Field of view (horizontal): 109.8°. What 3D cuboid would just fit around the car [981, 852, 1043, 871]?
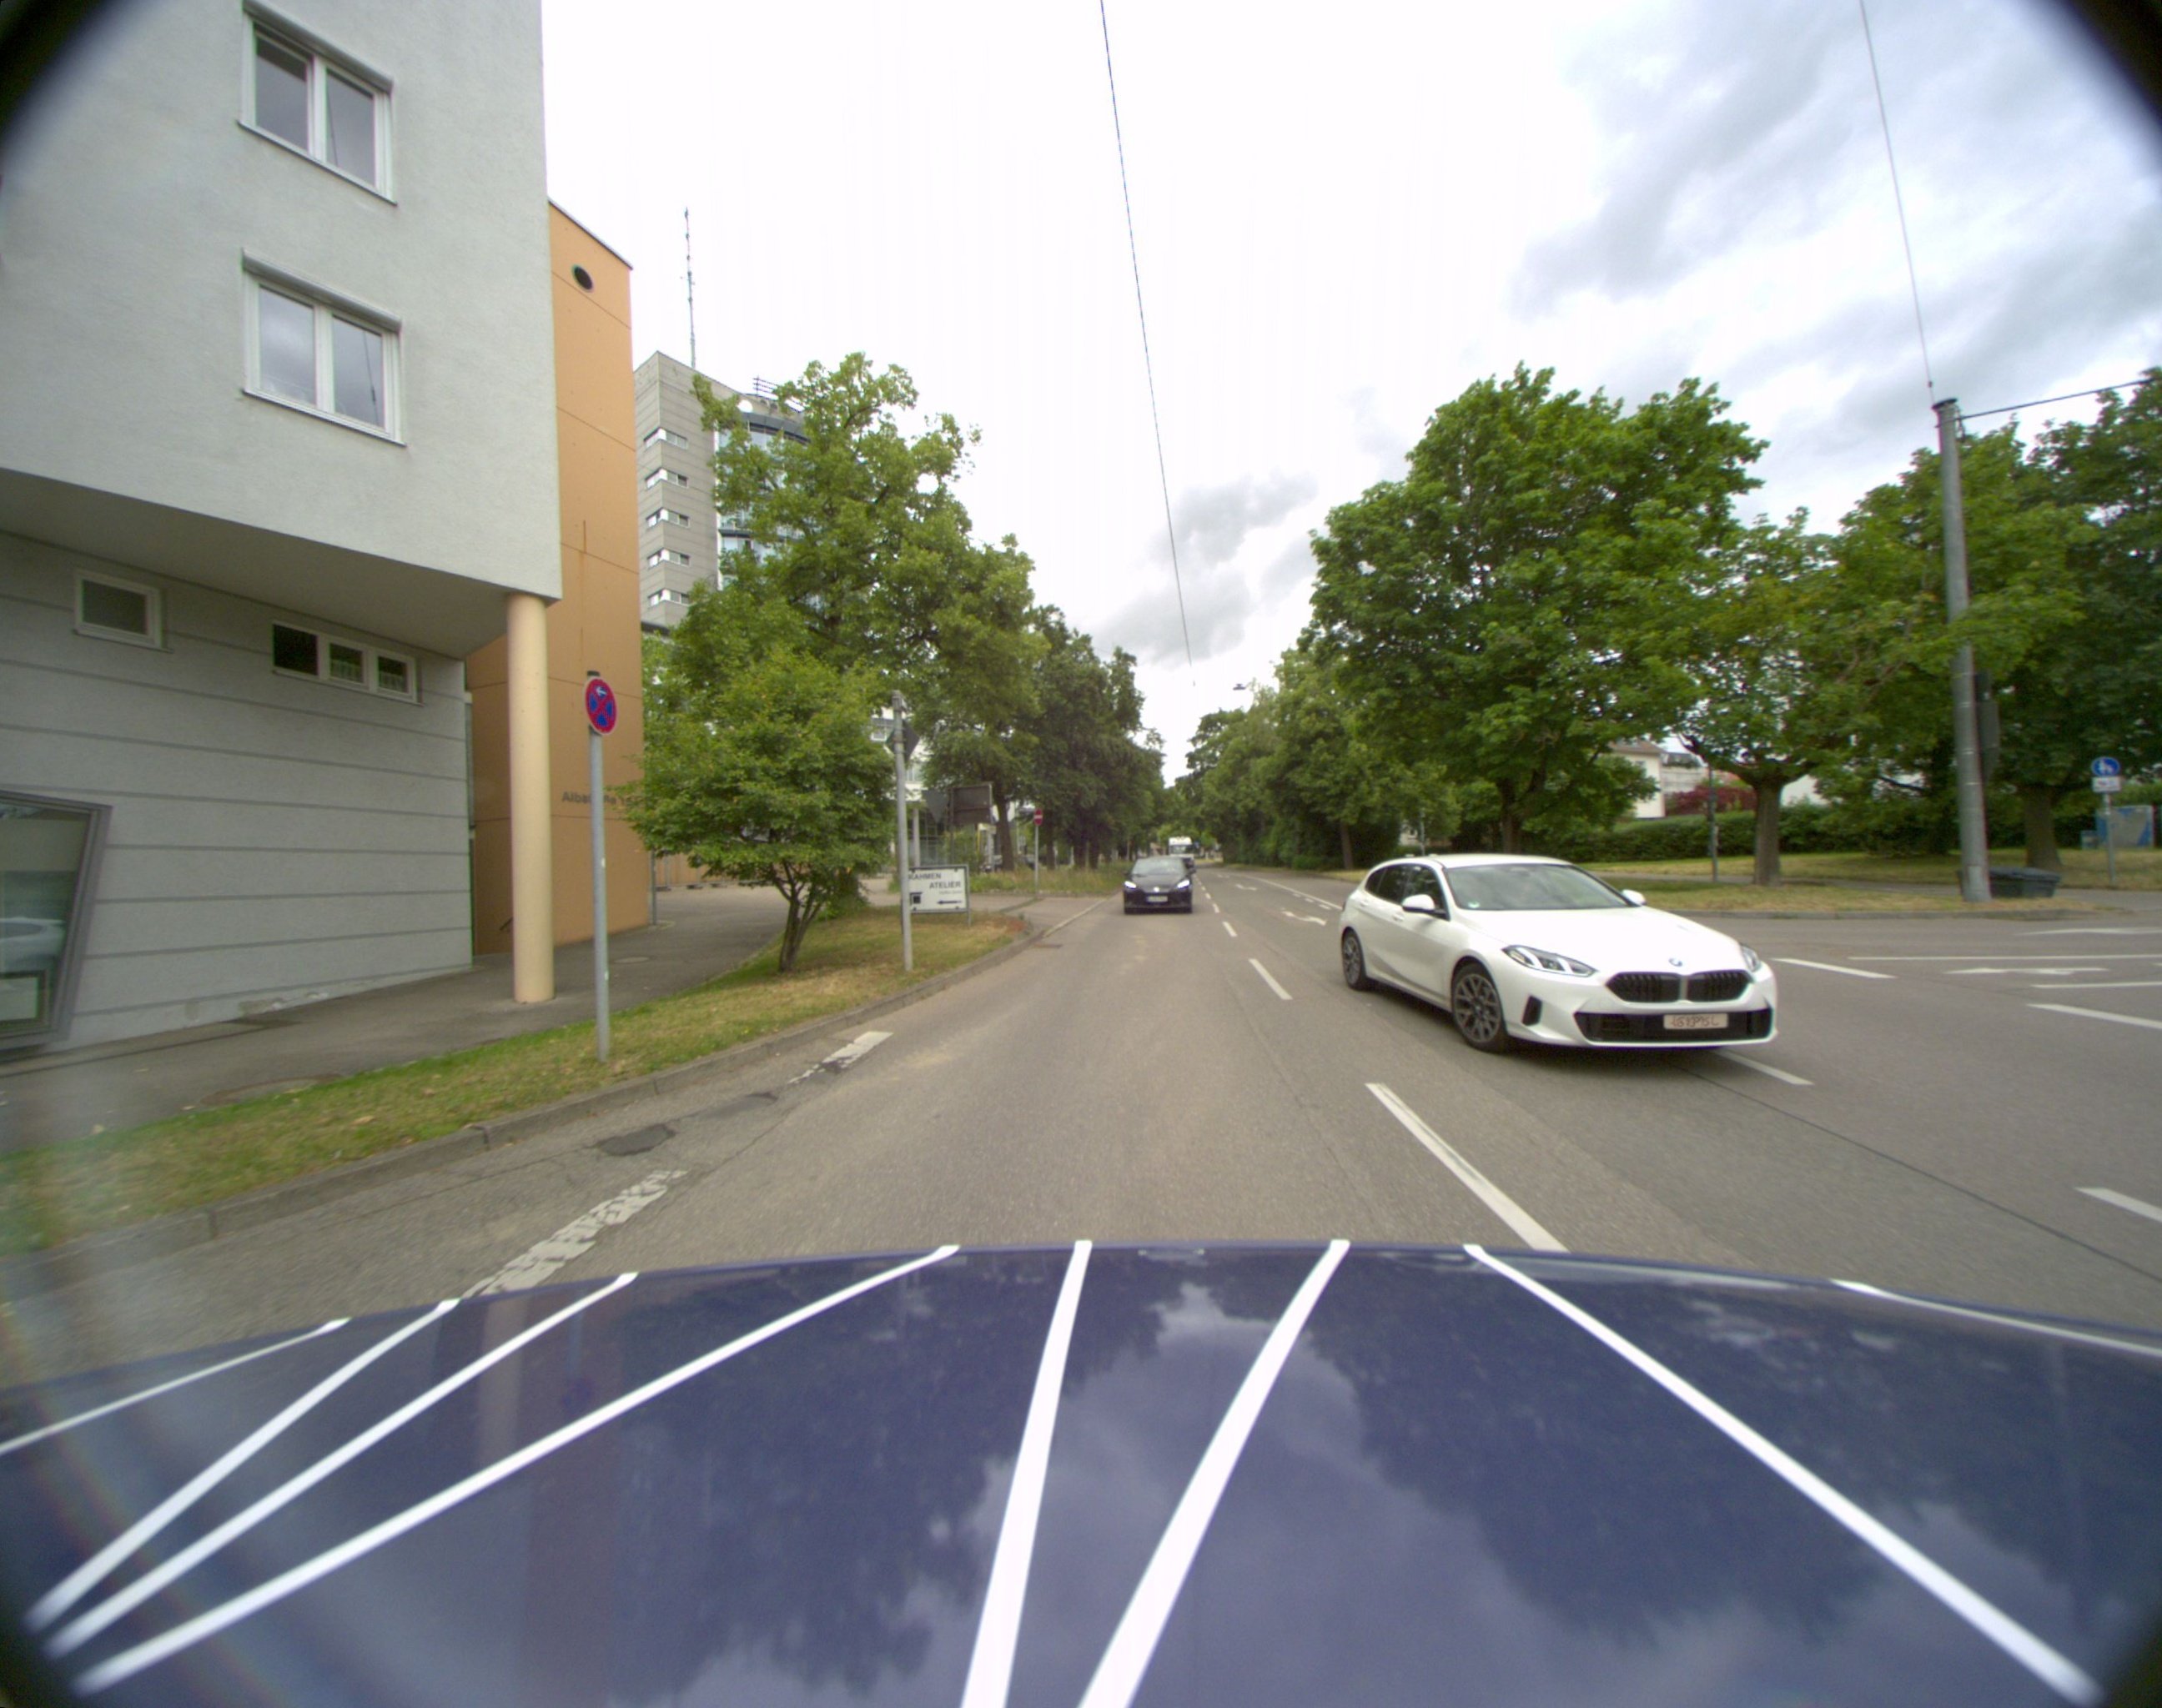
[{"bbox_3d":[-5.639,0.613,62.392,4.751,1.508,1.866,-1,0,-37],"label":"car"}]

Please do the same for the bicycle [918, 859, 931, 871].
[{"bbox_3d":[-14.771,1.005,71.674,1.397,1.066,0.393,-3,1,37],"label":"bicycle"}]

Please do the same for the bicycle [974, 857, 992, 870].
[{"bbox_3d":[-9.624,0.930,74.804,1.739,1.141,0.491,-3,1,-8],"label":"bicycle"}]

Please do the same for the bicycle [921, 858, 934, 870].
[{"bbox_3d":[-14.639,0.984,72.380,1.397,1.066,0.393,-3,1,37],"label":"bicycle"}]

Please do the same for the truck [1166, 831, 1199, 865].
[{"bbox_3d":[10.123,-0.555,76.049,2.436,3.176,6.466,-2,0,1],"label":"truck"}]

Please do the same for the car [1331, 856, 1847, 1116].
[{"bbox_3d":[3.740,0.803,6.665,1.800,1.508,4.207,-1,0,2],"label":"car"}]

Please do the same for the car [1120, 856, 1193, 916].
[{"bbox_3d":[2.007,0.807,21.083,1.800,1.475,4.020,-1,0,3],"label":"car"}]
